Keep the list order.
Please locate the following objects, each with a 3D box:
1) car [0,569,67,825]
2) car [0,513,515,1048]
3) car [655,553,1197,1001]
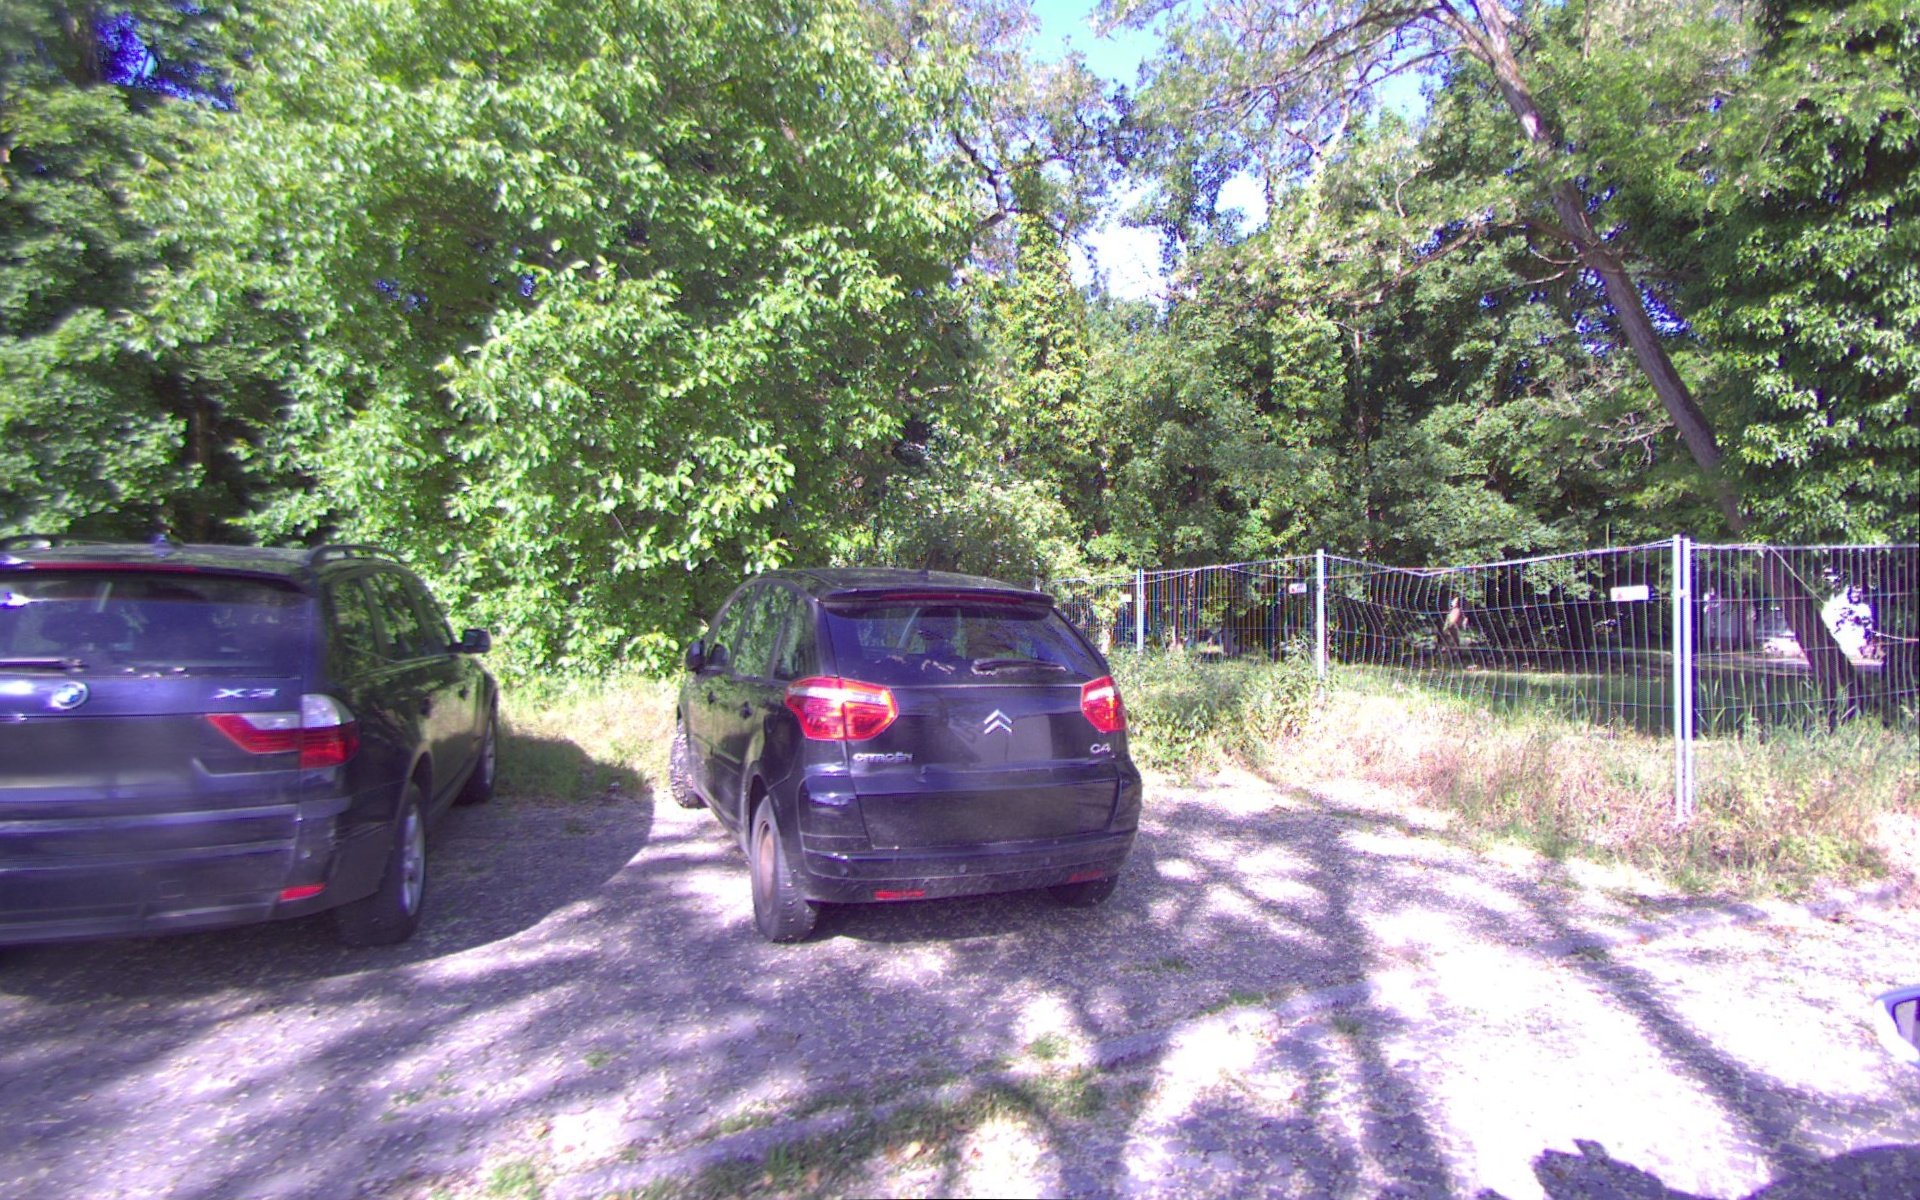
[{"bbox_3d":[-6.284,0.559,4.679,1.650,1.536,3.542,1,-1,-13],"label":"car"},{"bbox_3d":[-3.480,0.528,5.184,1.790,1.678,4.172,1,1,-19],"label":"car"},{"bbox_3d":[-0.637,0.606,6.061,1.768,1.674,4.274,1,2,-24],"label":"car"}]
